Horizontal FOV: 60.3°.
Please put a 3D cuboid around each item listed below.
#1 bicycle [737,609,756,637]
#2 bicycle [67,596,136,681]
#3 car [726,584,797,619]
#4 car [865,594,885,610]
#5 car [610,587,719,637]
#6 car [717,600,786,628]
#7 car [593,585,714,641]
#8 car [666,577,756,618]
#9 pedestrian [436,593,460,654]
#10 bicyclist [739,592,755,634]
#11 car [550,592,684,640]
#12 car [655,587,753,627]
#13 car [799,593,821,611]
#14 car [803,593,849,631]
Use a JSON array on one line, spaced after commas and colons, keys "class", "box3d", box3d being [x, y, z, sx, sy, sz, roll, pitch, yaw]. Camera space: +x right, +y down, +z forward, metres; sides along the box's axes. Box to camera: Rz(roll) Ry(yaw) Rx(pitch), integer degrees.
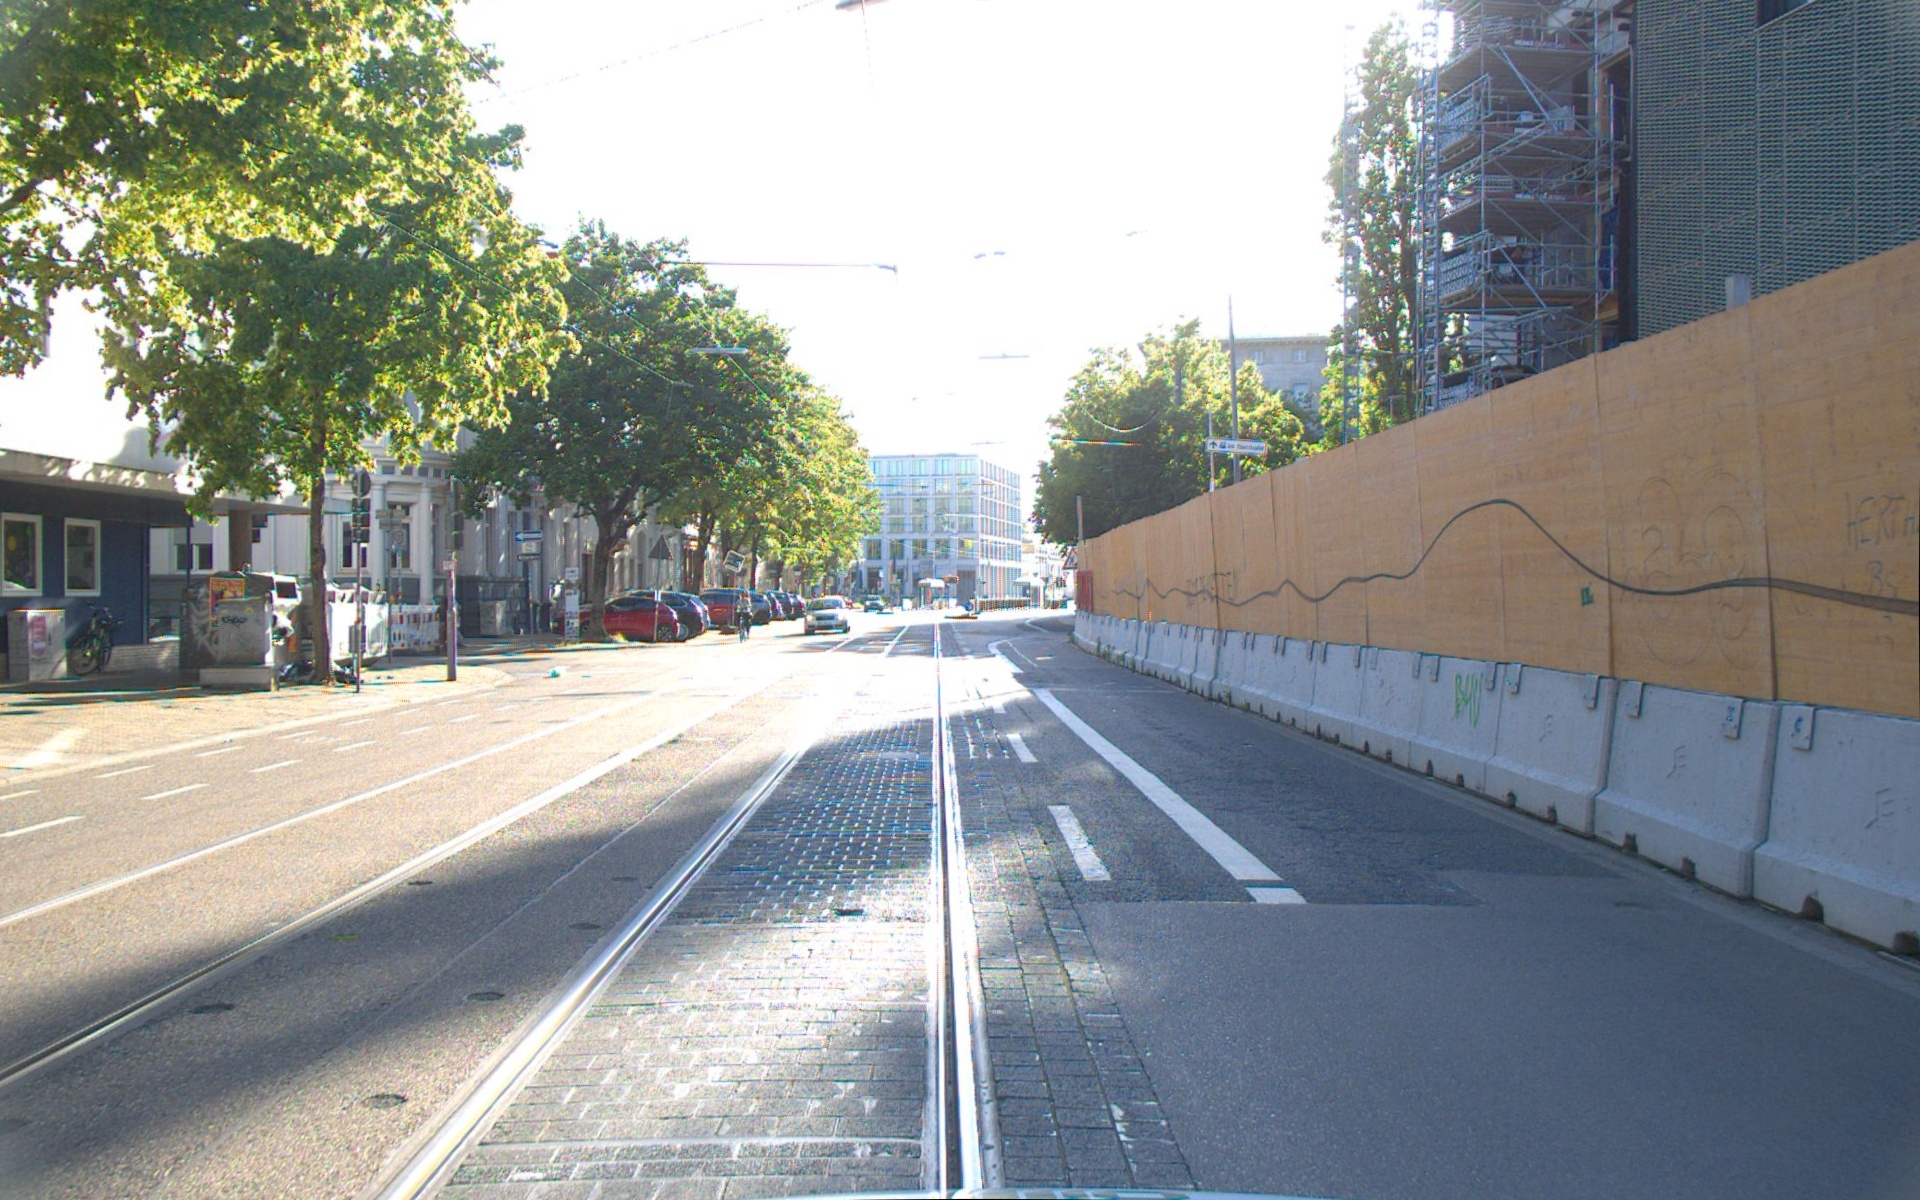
[{"class": "bicycle", "box3d": [-7.201, 0.776, 55.782, 0.440, 0.896, 1.900, -1, 0, -2]}, {"class": "bicycle", "box3d": [-14.395, 0.614, 27.783, 0.516, 1.367, 2.176, -1, 0, -14]}, {"class": "car", "box3d": [-10.109, 0.069, 84.099, 3.336, 1.727, 1.392, 0, 0, -29]}, {"class": "car", "box3d": [-8.544, 0.222, 166.200, 1.525, 1.557, 4.002, -1, 0, 3]}, {"class": "car", "box3d": [-10.892, 0.431, 60.969, 3.645, 1.751, 1.591, -1, 0, -36]}, {"class": "car", "box3d": [-10.842, 0.709, 85.969, 3.336, 1.444, 1.392, 0, 0, -29]}, {"class": "car", "box3d": [-10.219, 0.413, 55.179, 3.645, 1.751, 1.591, -1, 0, -36]}, {"class": "car", "box3d": [-11.611, -0.103, 77.146, 3.789, 1.864, 1.714, 1, -1, -31]}, {"class": "pedestrian", "box3d": [-13.588, 0.624, 43.923, 0.338, 1.600, 0.511, -1, 0, 27]}, {"class": "bicyclist", "box3d": [-7.193, 0.434, 55.882, 0.448, 1.402, 0.640, -1, 0, -2]}, {"class": "car", "box3d": [-10.907, 0.517, 52.689, 3.868, 1.478, 1.618, 1, -1, -35]}, {"class": "car", "box3d": [-11.433, 0.292, 73.938, 4.113, 1.751, 1.569, 0, 0, -29]}, {"class": "car", "box3d": [-12.878, 0.143, 141.786, 1.541, 1.516, 4.000, -1, 0, -1]}, {"class": "car", "box3d": [-5.404, 0.468, 66.980, 1.675, 1.461, 4.169, -1, 0, -2]}]
